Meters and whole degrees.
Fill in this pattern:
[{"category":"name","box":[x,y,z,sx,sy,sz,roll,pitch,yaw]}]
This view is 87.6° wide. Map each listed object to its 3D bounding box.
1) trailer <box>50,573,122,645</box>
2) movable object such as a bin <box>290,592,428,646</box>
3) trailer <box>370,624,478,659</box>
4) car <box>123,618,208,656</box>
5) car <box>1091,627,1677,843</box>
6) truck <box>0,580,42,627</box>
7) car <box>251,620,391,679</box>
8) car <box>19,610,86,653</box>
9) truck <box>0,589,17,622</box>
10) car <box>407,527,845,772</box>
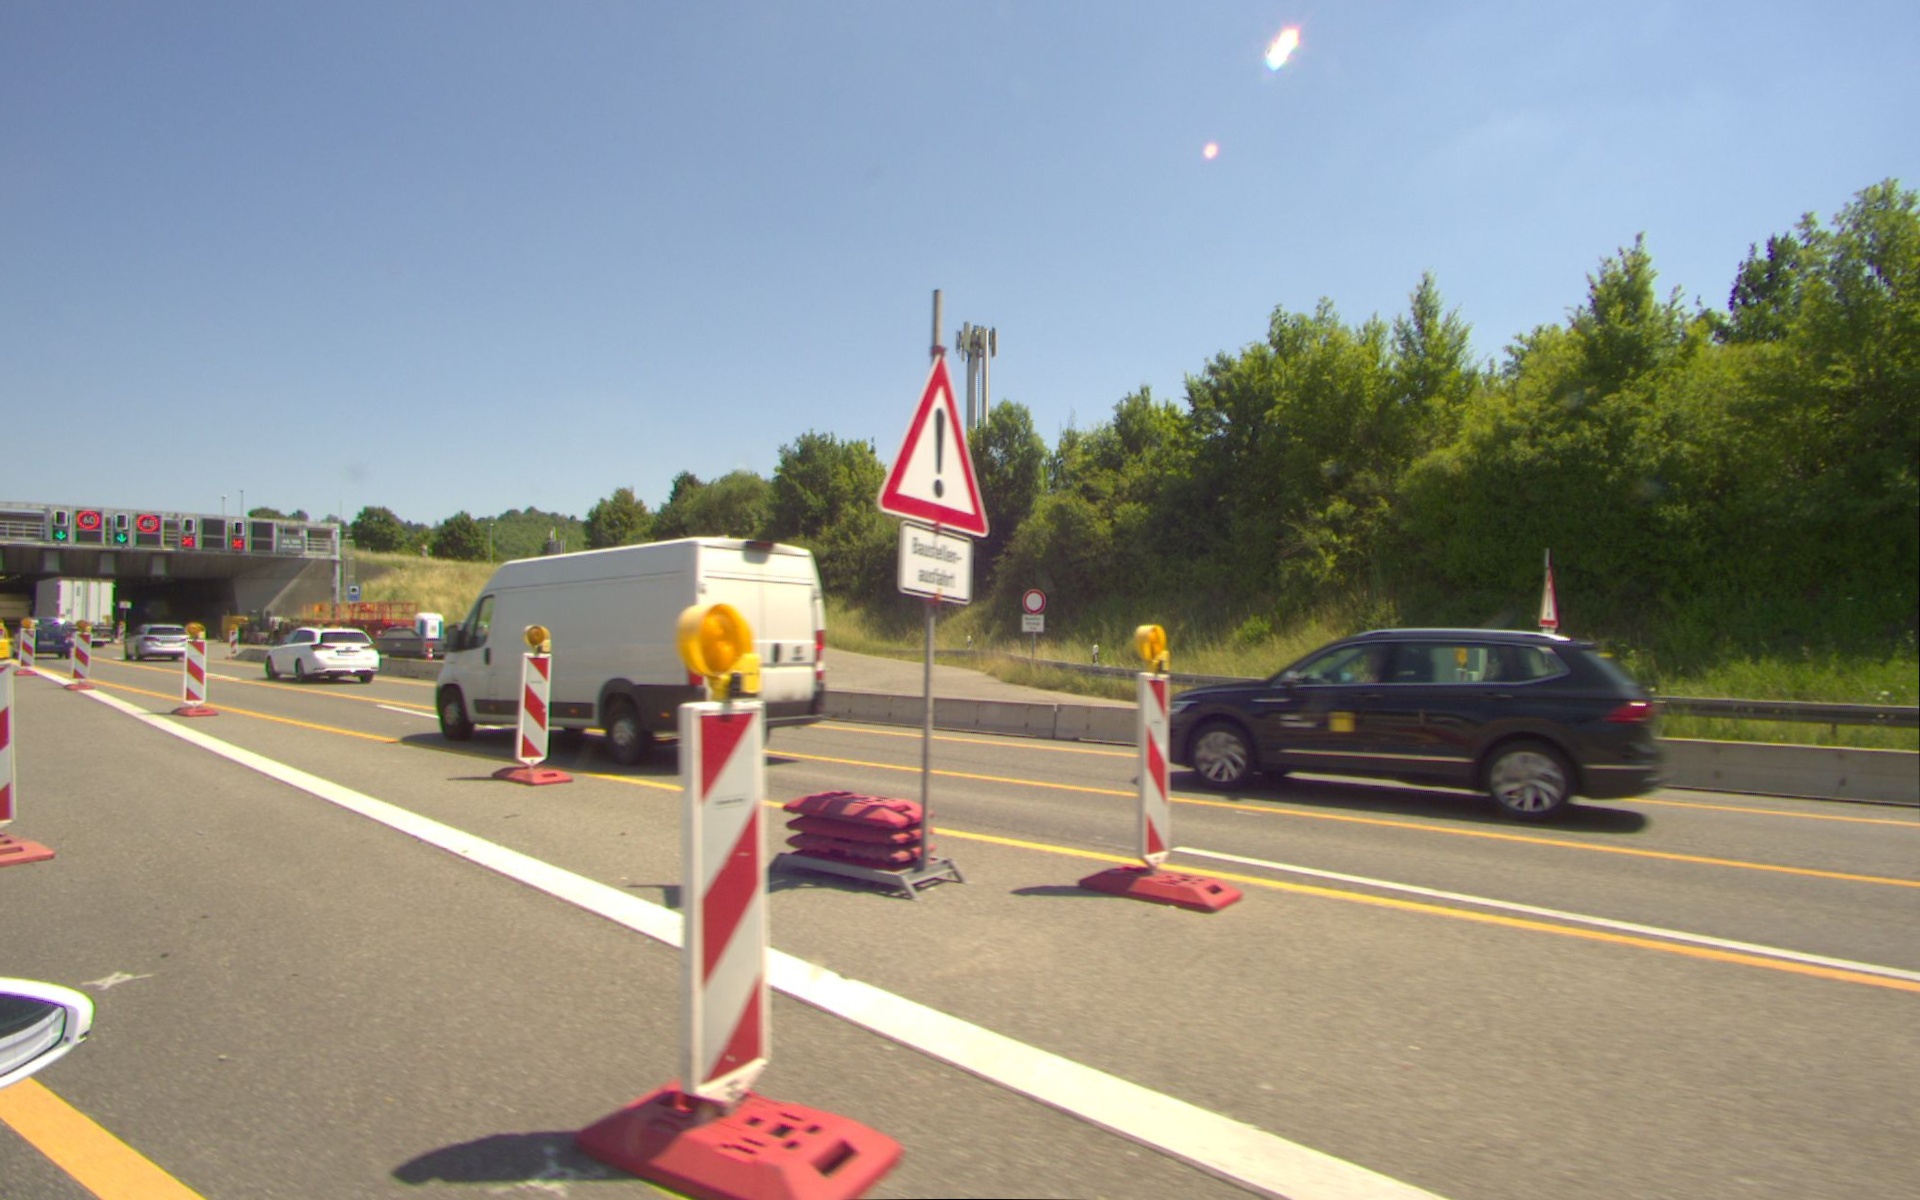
[{"category":"trailer","box":[-55.692,0.745,63.665,2.716,4.113,13.960,3,-3,-44]},{"category":"movable object such as a bin","box":[-37.300,1.169,61.695,14.536,3.050,3.095,-1,0,42]},{"category":"trailer","box":[-27.317,2.052,50.975,6.157,1.589,2.585,-1,0,38]},{"category":"car","box":[-32.726,1.514,41.193,4.597,1.483,1.808,-1,-3,39]},{"category":"car","box":[4.090,1.129,10.177,5.168,1.683,2.014,-1,-2,36]},{"category":"truck","box":[-102.358,0.548,107.857,16.354,4.388,3.386,-2,-4,42]},{"category":"car","box":[-17.720,1.405,27.698,4.595,1.482,1.809,-3,-5,38]},{"category":"car","box":[-37.542,1.316,41.387,1.804,1.663,4.606,3,-3,-45]},{"category":"truck","box":[-130.810,0.757,135.390,16.352,4.122,3.386,-2,-3,42]},{"category":"car","box":[-4.696,0.607,13.404,6.500,2.568,2.259,-1,-2,37]}]
